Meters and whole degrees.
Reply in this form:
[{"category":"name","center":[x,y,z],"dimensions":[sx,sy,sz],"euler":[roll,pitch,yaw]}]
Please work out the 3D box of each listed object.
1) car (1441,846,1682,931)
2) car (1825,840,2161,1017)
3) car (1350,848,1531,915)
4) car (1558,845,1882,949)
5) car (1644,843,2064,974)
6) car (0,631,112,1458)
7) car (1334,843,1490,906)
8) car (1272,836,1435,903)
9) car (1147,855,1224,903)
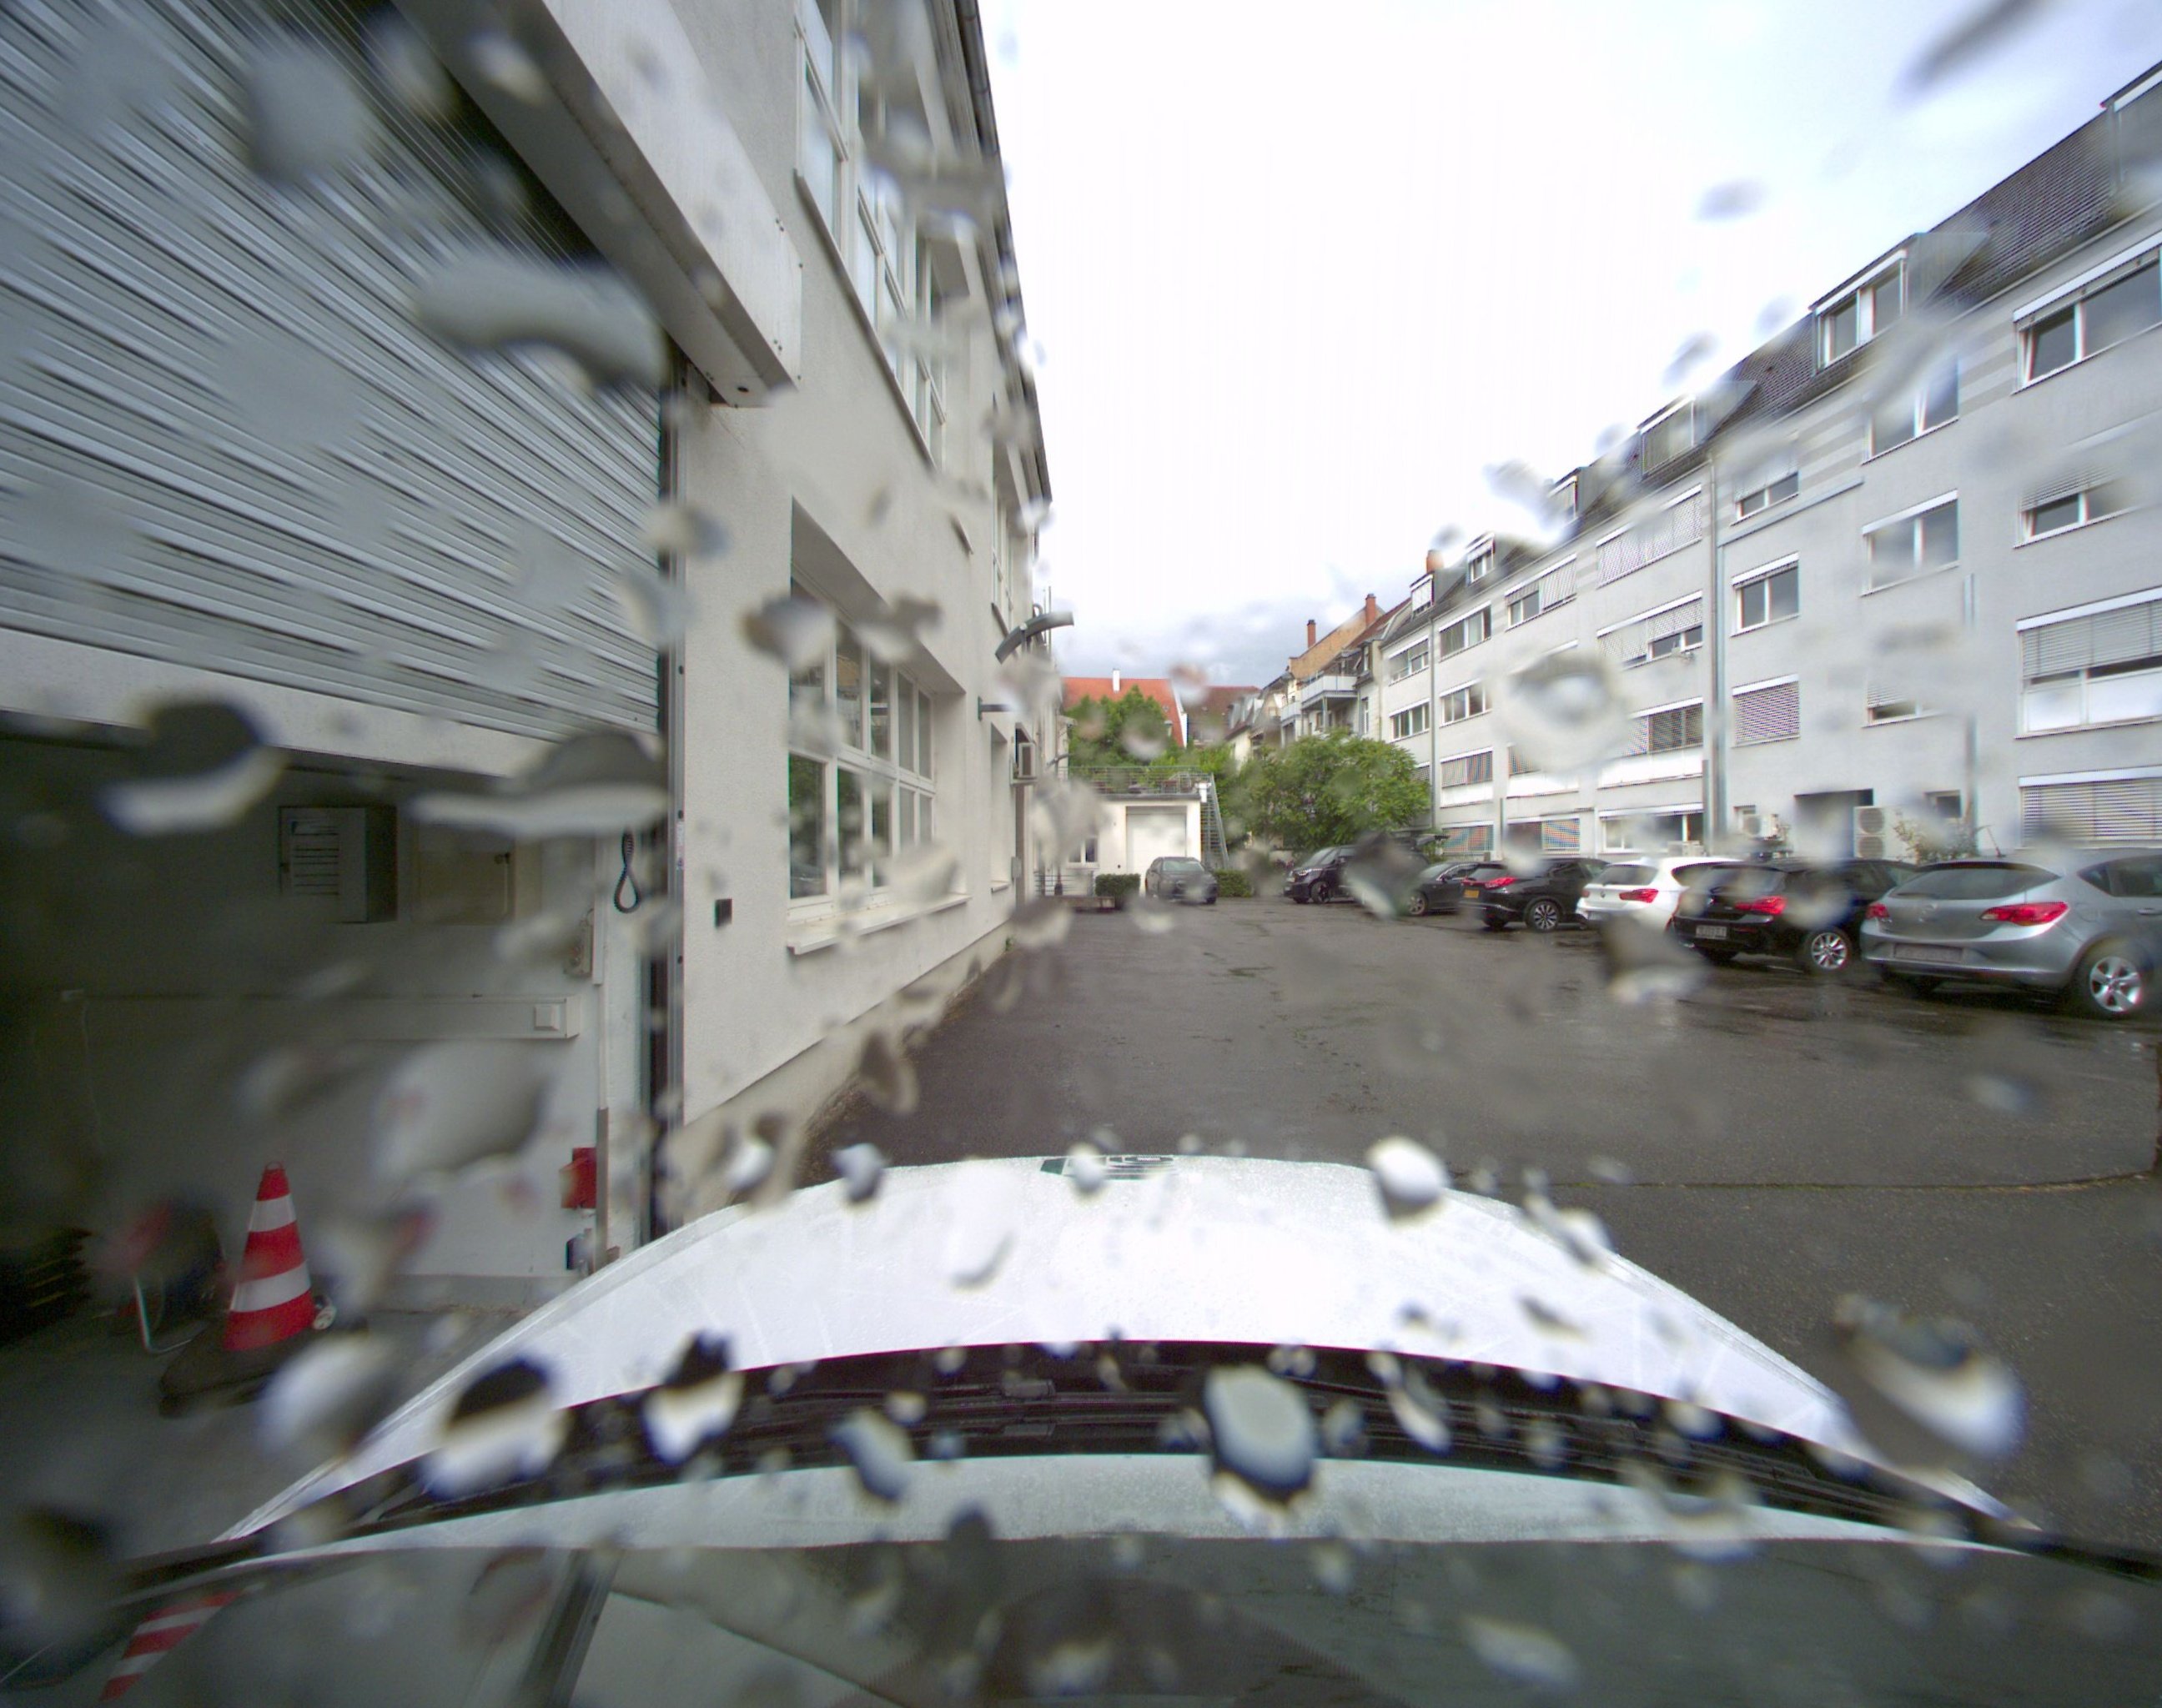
[{"category":"car","center":[9.670,0.666,16.559],"dimensions":[3.904,1.514,1.816],"euler":[-2,-1,-6]},{"category":"car","center":[10.110,0.621,8.017],"dimensions":[3.977,1.445,1.805],"euler":[-2,0,-2]},{"category":"car","center":[9.233,0.689,21.081],"dimensions":[3.901,1.514,1.749],"euler":[-2,-1,-4]},{"category":"car","center":[10.221,0.655,13.204],"dimensions":[3.980,1.458,1.770],"euler":[-1,-1,-5]},{"category":"car","center":[9.952,0.646,10.685],"dimensions":[3.979,1.403,1.771],"euler":[-2,0,-4]},{"category":"car","center":[-4.982,0.436,1.152],"dimensions":[4.673,2.014,2.085],"euler":[1,0,0]},{"category":"car","center":[9.814,0.596,24.358],"dimensions":[3.897,1.687,1.816],"euler":[-2,-1,-1]},{"category":"car","center":[8.990,0.473,27.081],"dimensions":[4.634,2.003,2.218],"euler":[-2,0,-10]},{"category":"car","center":[3.348,0.762,26.844],"dimensions":[1.973,1.444,3.998],"euler":[0,0,-1]}]
